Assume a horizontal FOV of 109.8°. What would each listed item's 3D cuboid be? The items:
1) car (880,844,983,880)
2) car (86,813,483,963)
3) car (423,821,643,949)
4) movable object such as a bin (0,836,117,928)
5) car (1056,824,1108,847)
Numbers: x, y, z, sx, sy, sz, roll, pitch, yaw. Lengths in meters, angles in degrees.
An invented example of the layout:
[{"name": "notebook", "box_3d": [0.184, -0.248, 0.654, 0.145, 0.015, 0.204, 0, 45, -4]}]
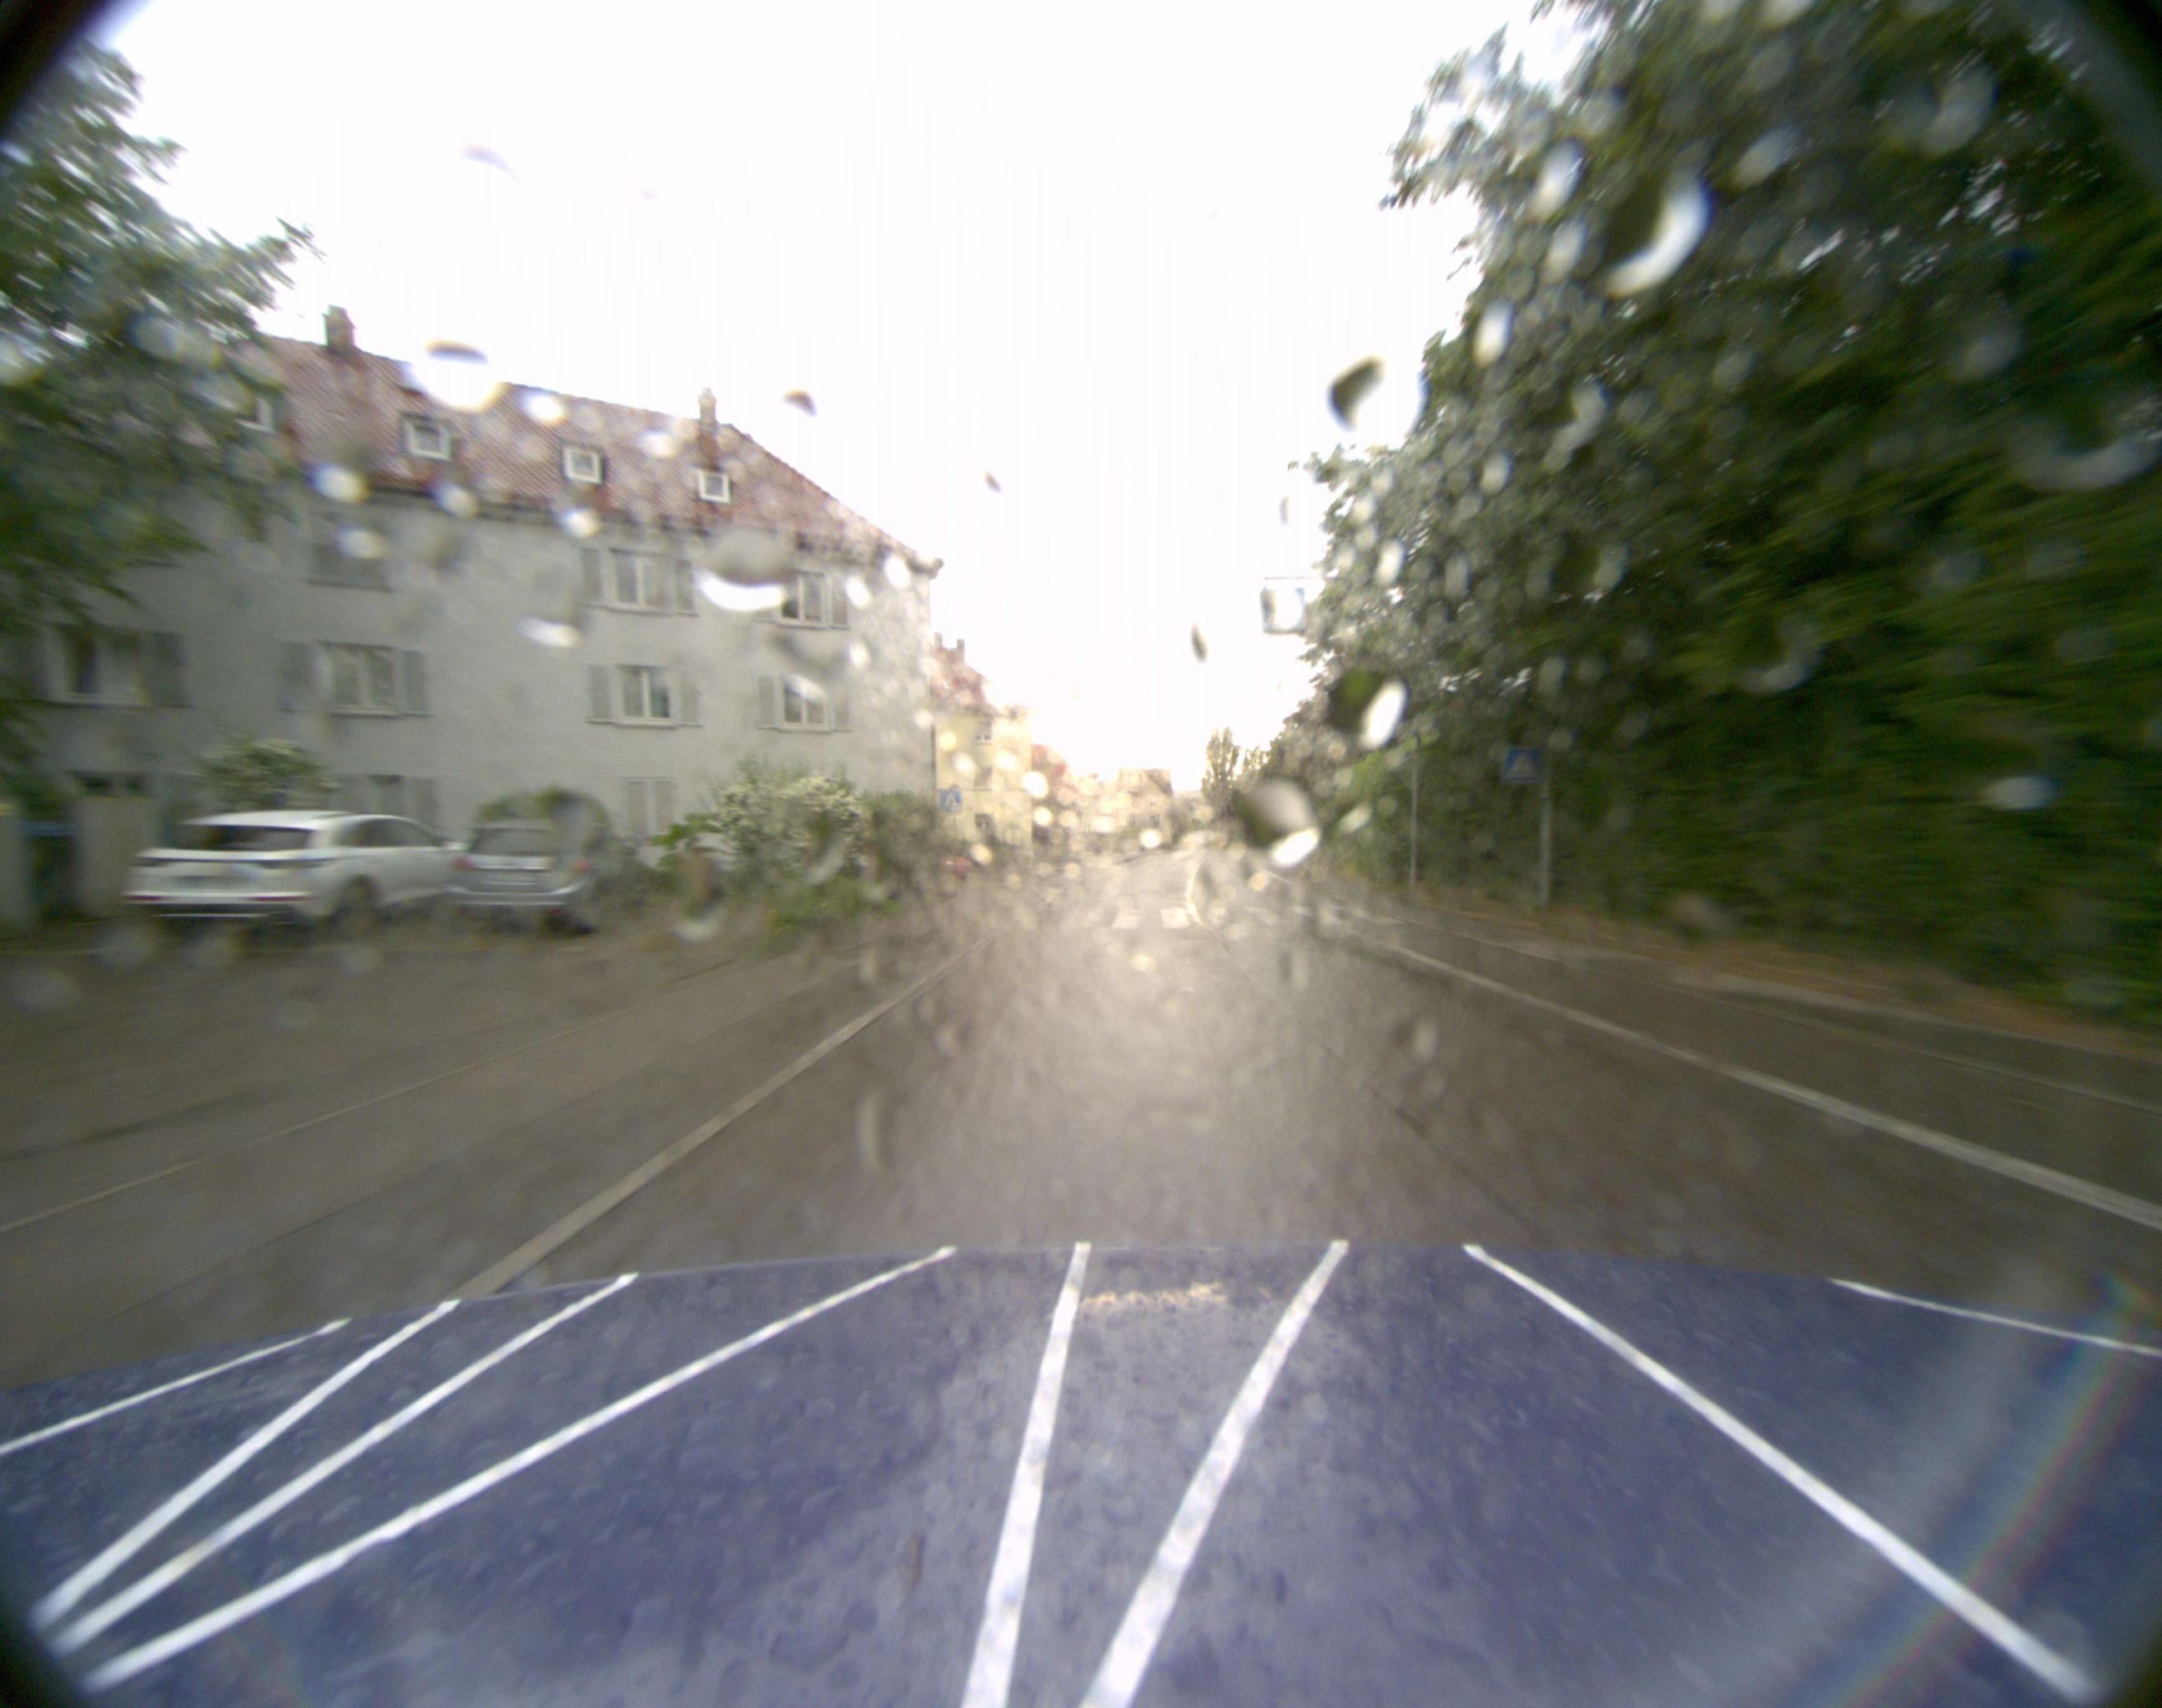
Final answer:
[{"name": "car", "box_3d": [-6.526, 0.341, 33.247, 4.084, 1.400, 1.726, -2, 1, 21]}, {"name": "car", "box_3d": [-10.548, 0.298, 10.640, 1.797, 1.584, 4.248, 2, 4, -14]}, {"name": "car", "box_3d": [-8.283, 0.357, 11.908, 1.726, 1.555, 3.786, 2, 4, -18]}, {"name": "movable object such as a bin", "box_3d": [-14.188, 0.372, 10.528, 0.724, 1.238, 0.724, -1, 1, 8]}, {"name": "car", "box_3d": [0.058, -1.533, 62.608, 3.938, 1.772, 1.767, 1, 4, -17]}]
